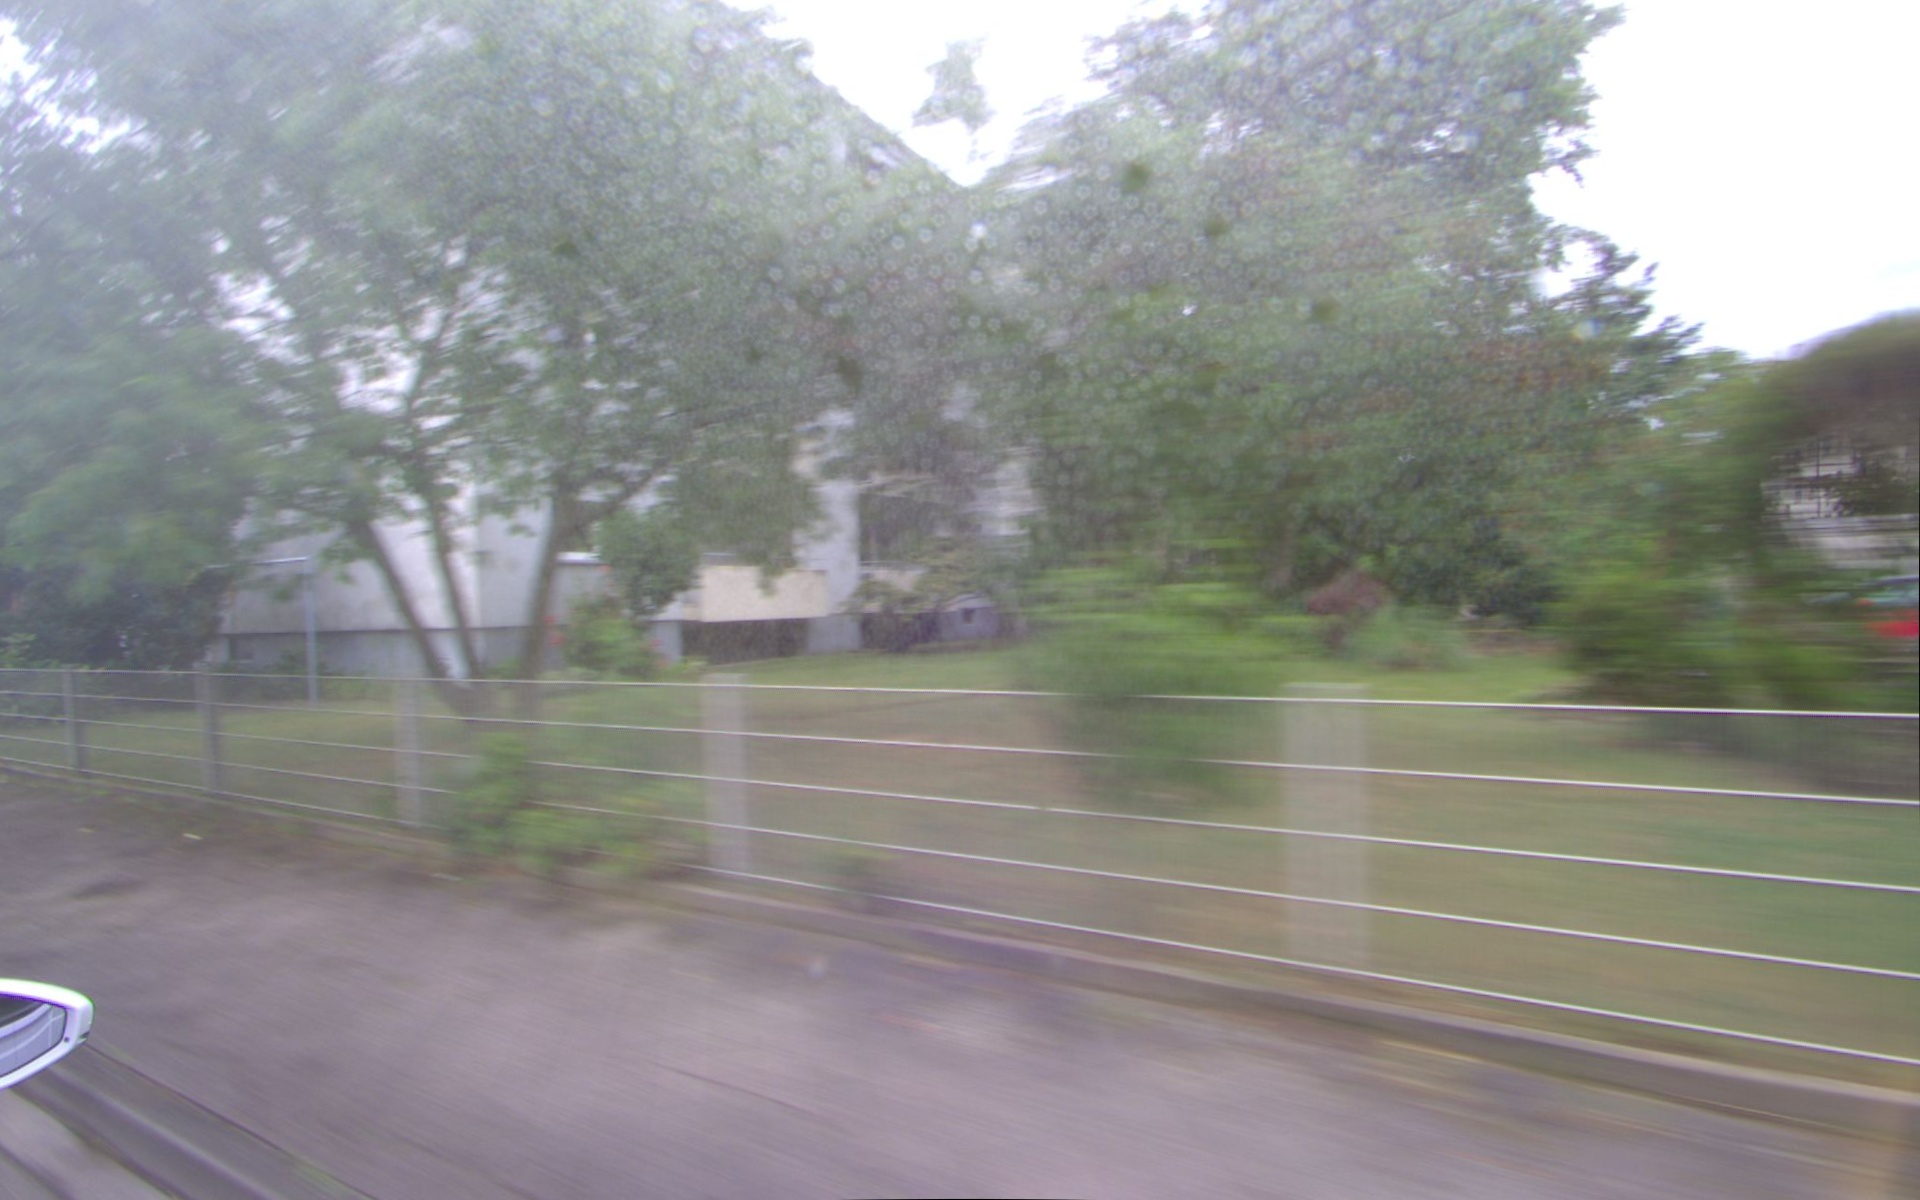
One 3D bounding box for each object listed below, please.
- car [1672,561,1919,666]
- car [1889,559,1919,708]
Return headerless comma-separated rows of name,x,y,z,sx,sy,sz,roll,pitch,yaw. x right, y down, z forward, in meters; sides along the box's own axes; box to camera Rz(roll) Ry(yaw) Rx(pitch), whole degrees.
car,12.801,0.189,14.472,3.850,1.399,1.963,-1,0,28
car,11.469,0.307,9.229,3.850,1.530,2.019,-1,0,28
